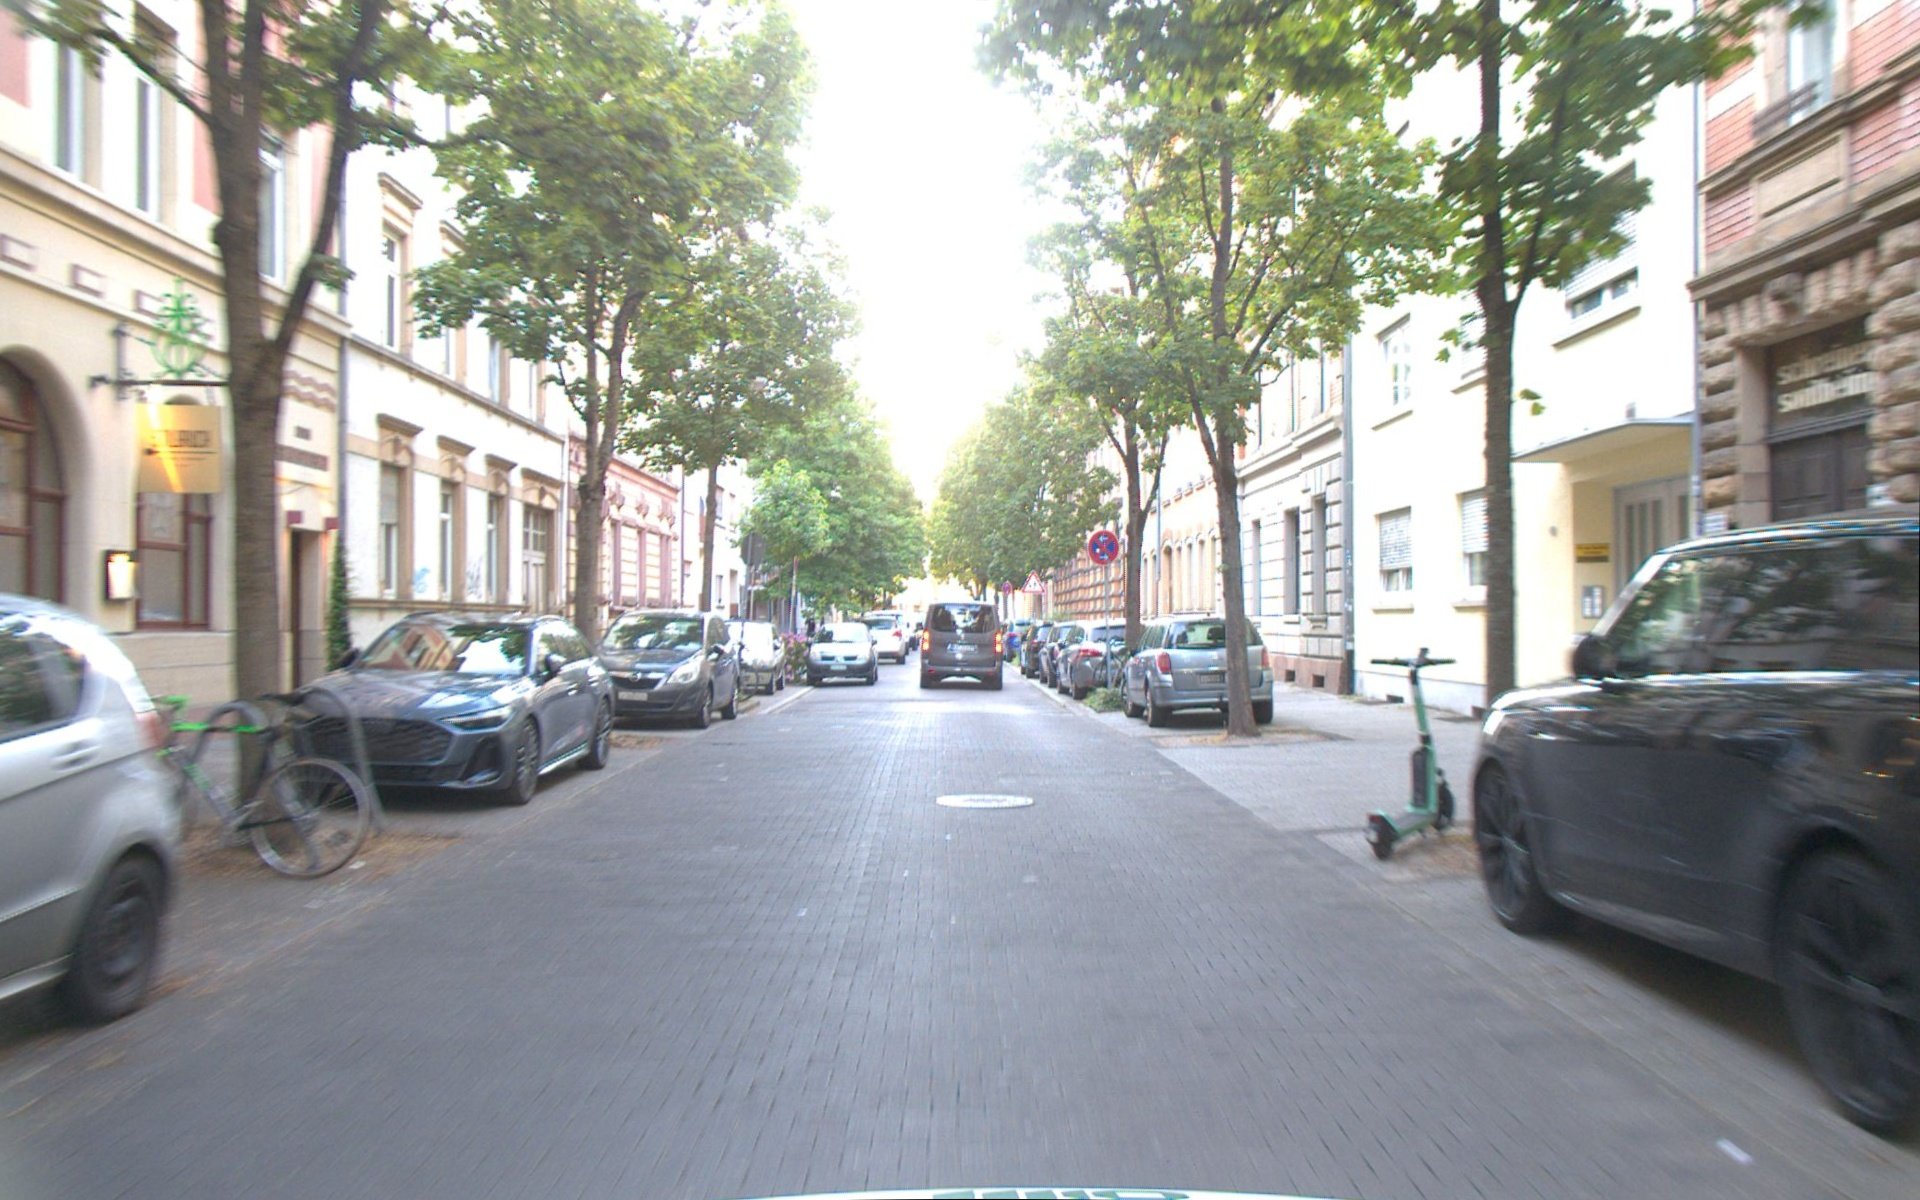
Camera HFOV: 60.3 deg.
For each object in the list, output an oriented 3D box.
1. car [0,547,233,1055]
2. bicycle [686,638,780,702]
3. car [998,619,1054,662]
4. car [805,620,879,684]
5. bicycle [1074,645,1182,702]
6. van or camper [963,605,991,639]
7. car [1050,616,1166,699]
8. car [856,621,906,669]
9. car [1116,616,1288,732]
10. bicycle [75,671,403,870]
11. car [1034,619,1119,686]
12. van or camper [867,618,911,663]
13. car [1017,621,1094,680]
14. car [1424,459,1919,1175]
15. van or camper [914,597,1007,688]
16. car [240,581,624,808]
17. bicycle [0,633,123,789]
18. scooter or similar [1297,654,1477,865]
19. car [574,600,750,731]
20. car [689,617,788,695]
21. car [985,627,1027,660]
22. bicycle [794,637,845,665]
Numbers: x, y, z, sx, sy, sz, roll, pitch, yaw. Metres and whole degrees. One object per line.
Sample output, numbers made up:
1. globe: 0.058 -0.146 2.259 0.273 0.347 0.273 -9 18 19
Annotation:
1. car: -3.903 0.621 4.949 1.641 1.636 3.861 1 -1 1
2. bicycle: -4.104 1.251 29.816 1.795 1.104 0.664 0 -3 42
3. car: 2.302 1.421 58.574 1.595 1.492 4.243 0 -1 -3
4. car: -2.744 1.200 39.173 1.548 1.445 3.752 0 -1 -1
5. bicycle: 3.034 1.320 29.835 1.889 0.999 0.634 1 -1 -23
6. van or camper: 1.360 1.813 134.933 1.953 2.645 5.421 1 -1 -2
7. car: 2.854 1.091 32.736 1.682 1.502 4.365 -1 -1 -3
8. car: -2.740 1.514 56.693 1.630 1.590 3.996 0 -1 -4
9. car: 3.335 0.986 23.566 1.723 1.489 4.306 0 -1 -1
10. bicycle: -4.161 0.975 9.595 1.649 1.021 0.430 3 -1 1
11. car: 2.655 1.187 38.341 1.603 1.449 3.563 -1 -1 -2
12. van or camper: -3.094 1.724 71.946 1.839 1.875 4.750 0 -1 -3
13. car: 2.474 1.311 43.790 1.730 1.440 4.473 -2 -1 0
14. car: 3.445 0.566 6.138 1.973 1.865 4.809 -2 -1 -1
15. van or camper: 0.055 0.951 37.800 1.993 1.931 4.271 1 -1 1
16. car: -4.213 0.713 14.062 1.769 1.544 4.684 2 -1 -1
17. bicycle: -7.179 0.818 12.755 0.515 1.117 1.794 1 -1 0
18. scooter or similar: 2.680 0.963 10.345 0.663 1.211 1.111 -3 -2 38
19. car: -4.055 0.852 23.143 1.671 1.608 4.077 2 -1 0
20. car: -4.460 1.117 33.757 1.555 1.462 3.565 2 -1 -1
21. car: 2.064 1.957 75.674 1.659 1.426 4.644 0 -1 -1
22. bicycle: -4.679 1.708 55.121 1.681 0.923 0.379 2 -2 -31
